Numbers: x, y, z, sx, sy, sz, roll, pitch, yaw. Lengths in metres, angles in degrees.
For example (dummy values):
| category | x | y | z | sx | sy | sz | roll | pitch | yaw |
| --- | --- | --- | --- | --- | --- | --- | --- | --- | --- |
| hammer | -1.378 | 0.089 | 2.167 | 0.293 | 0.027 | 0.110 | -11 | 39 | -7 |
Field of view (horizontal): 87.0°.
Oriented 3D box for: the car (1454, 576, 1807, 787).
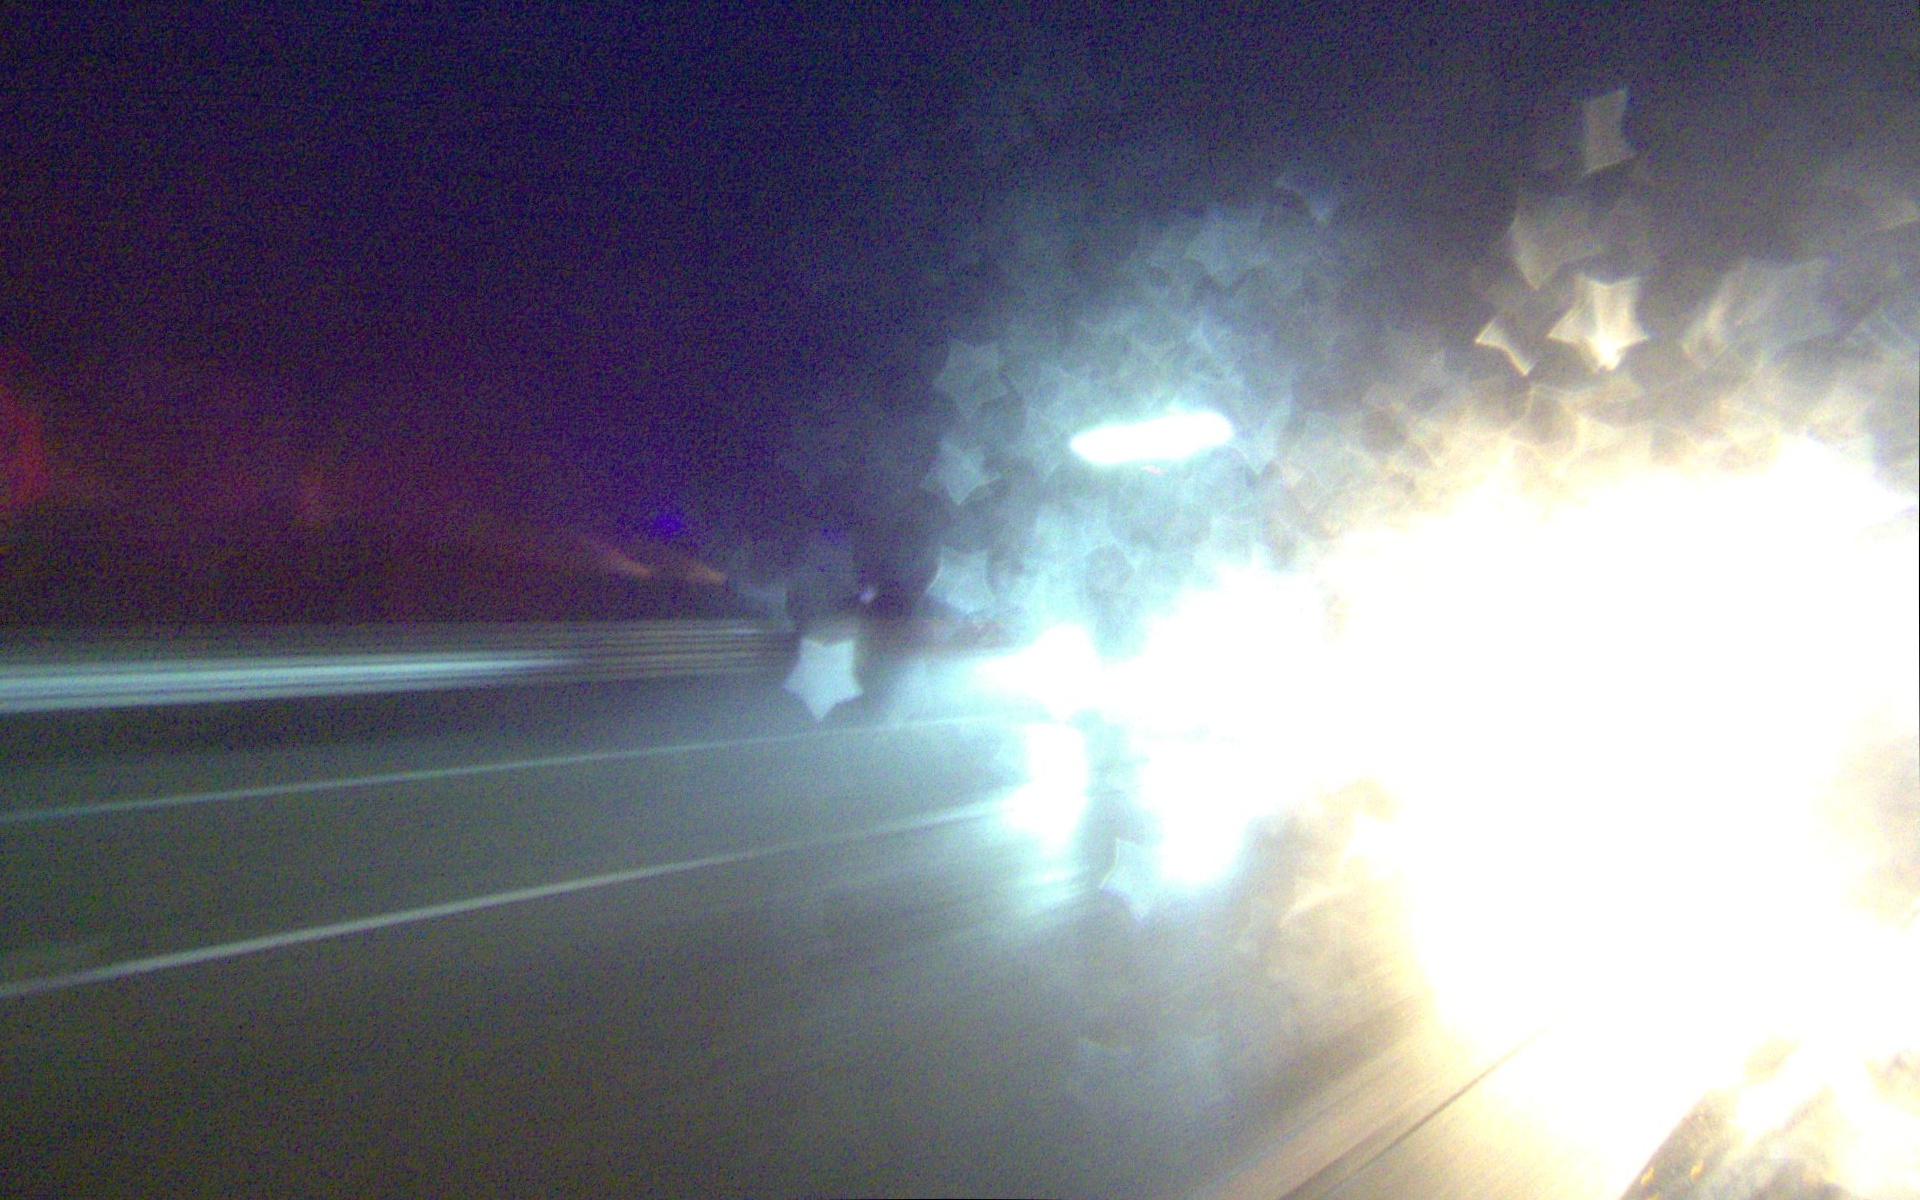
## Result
| category | x | y | z | sx | sy | sz | roll | pitch | yaw |
| --- | --- | --- | --- | --- | --- | --- | --- | --- | --- |
| car | 6.613 | 0.591 | 9.778 | 4.416 | 1.595 | 1.743 | 0 | 1 | -41 |

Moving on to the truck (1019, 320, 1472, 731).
| category | x | y | z | sx | sy | sz | roll | pitch | yaw |
| --- | --- | --- | --- | --- | --- | --- | --- | --- | --- |
| truck | 3.943 | -0.804 | 13.336 | 5.926 | 4.159 | 2.909 | 0 | 2 | -41 |

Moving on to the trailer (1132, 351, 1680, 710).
| category | x | y | z | sx | sy | sz | roll | pitch | yaw |
| --- | --- | --- | --- | --- | --- | --- | --- | --- | --- |
| trailer | 8.702 | -0.849 | 17.556 | 14.235 | 4.159 | 2.909 | 0 | 2 | -41 |
